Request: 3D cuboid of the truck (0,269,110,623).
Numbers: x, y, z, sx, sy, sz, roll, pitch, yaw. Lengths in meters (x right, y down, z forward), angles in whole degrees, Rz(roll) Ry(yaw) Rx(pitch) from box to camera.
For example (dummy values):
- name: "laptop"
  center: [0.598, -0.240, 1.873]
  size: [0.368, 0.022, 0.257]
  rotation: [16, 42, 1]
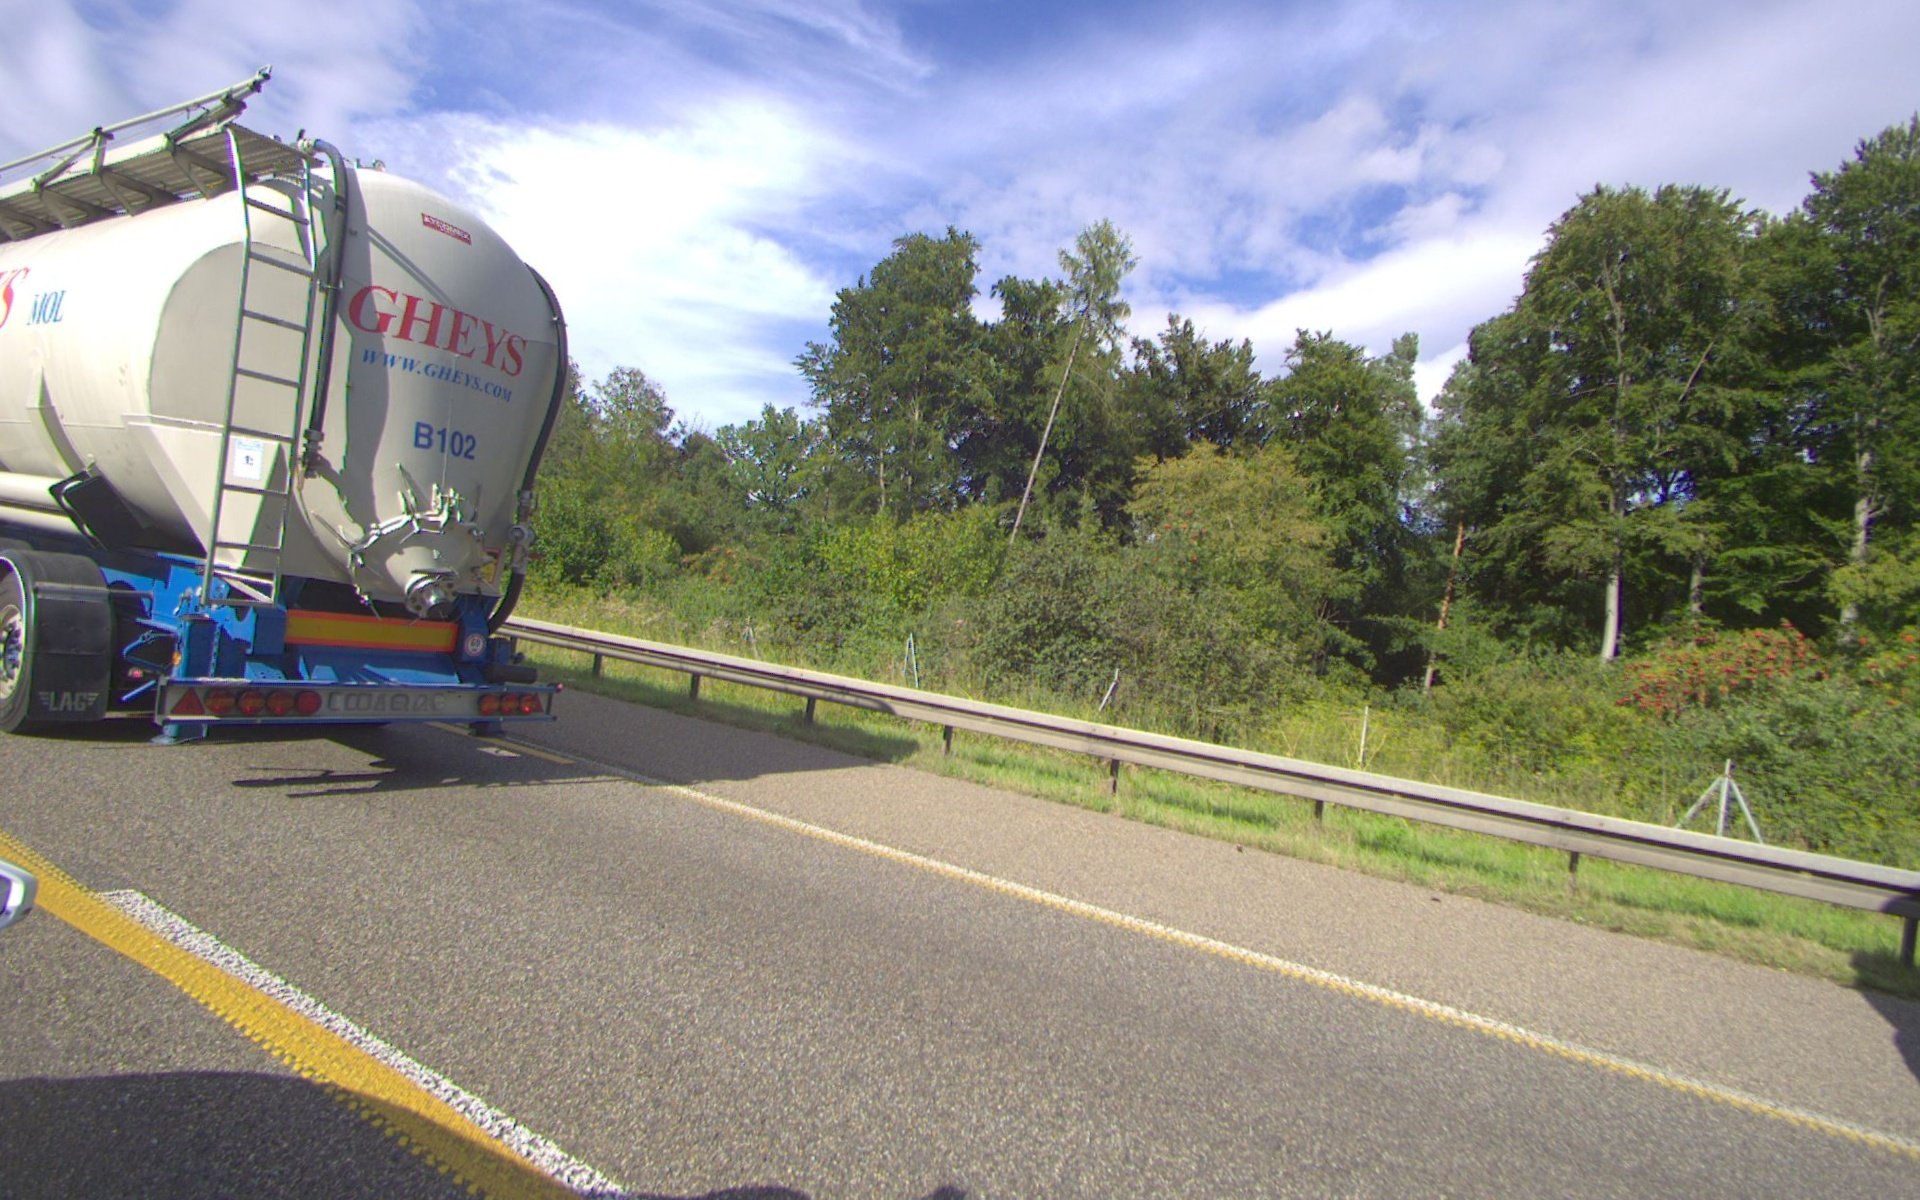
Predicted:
- name: "truck"
  center: [-13.834, -2.102, 12.770]
  size: [5.683, 4.018, 2.664]
  rotation: [6, -2, 32]

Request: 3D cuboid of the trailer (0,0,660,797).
- name: "trailer"
  center: [-8.296, -1.488, 9.314]
  size: [12.389, 3.989, 2.649]
  rotation: [7, -1, 32]
